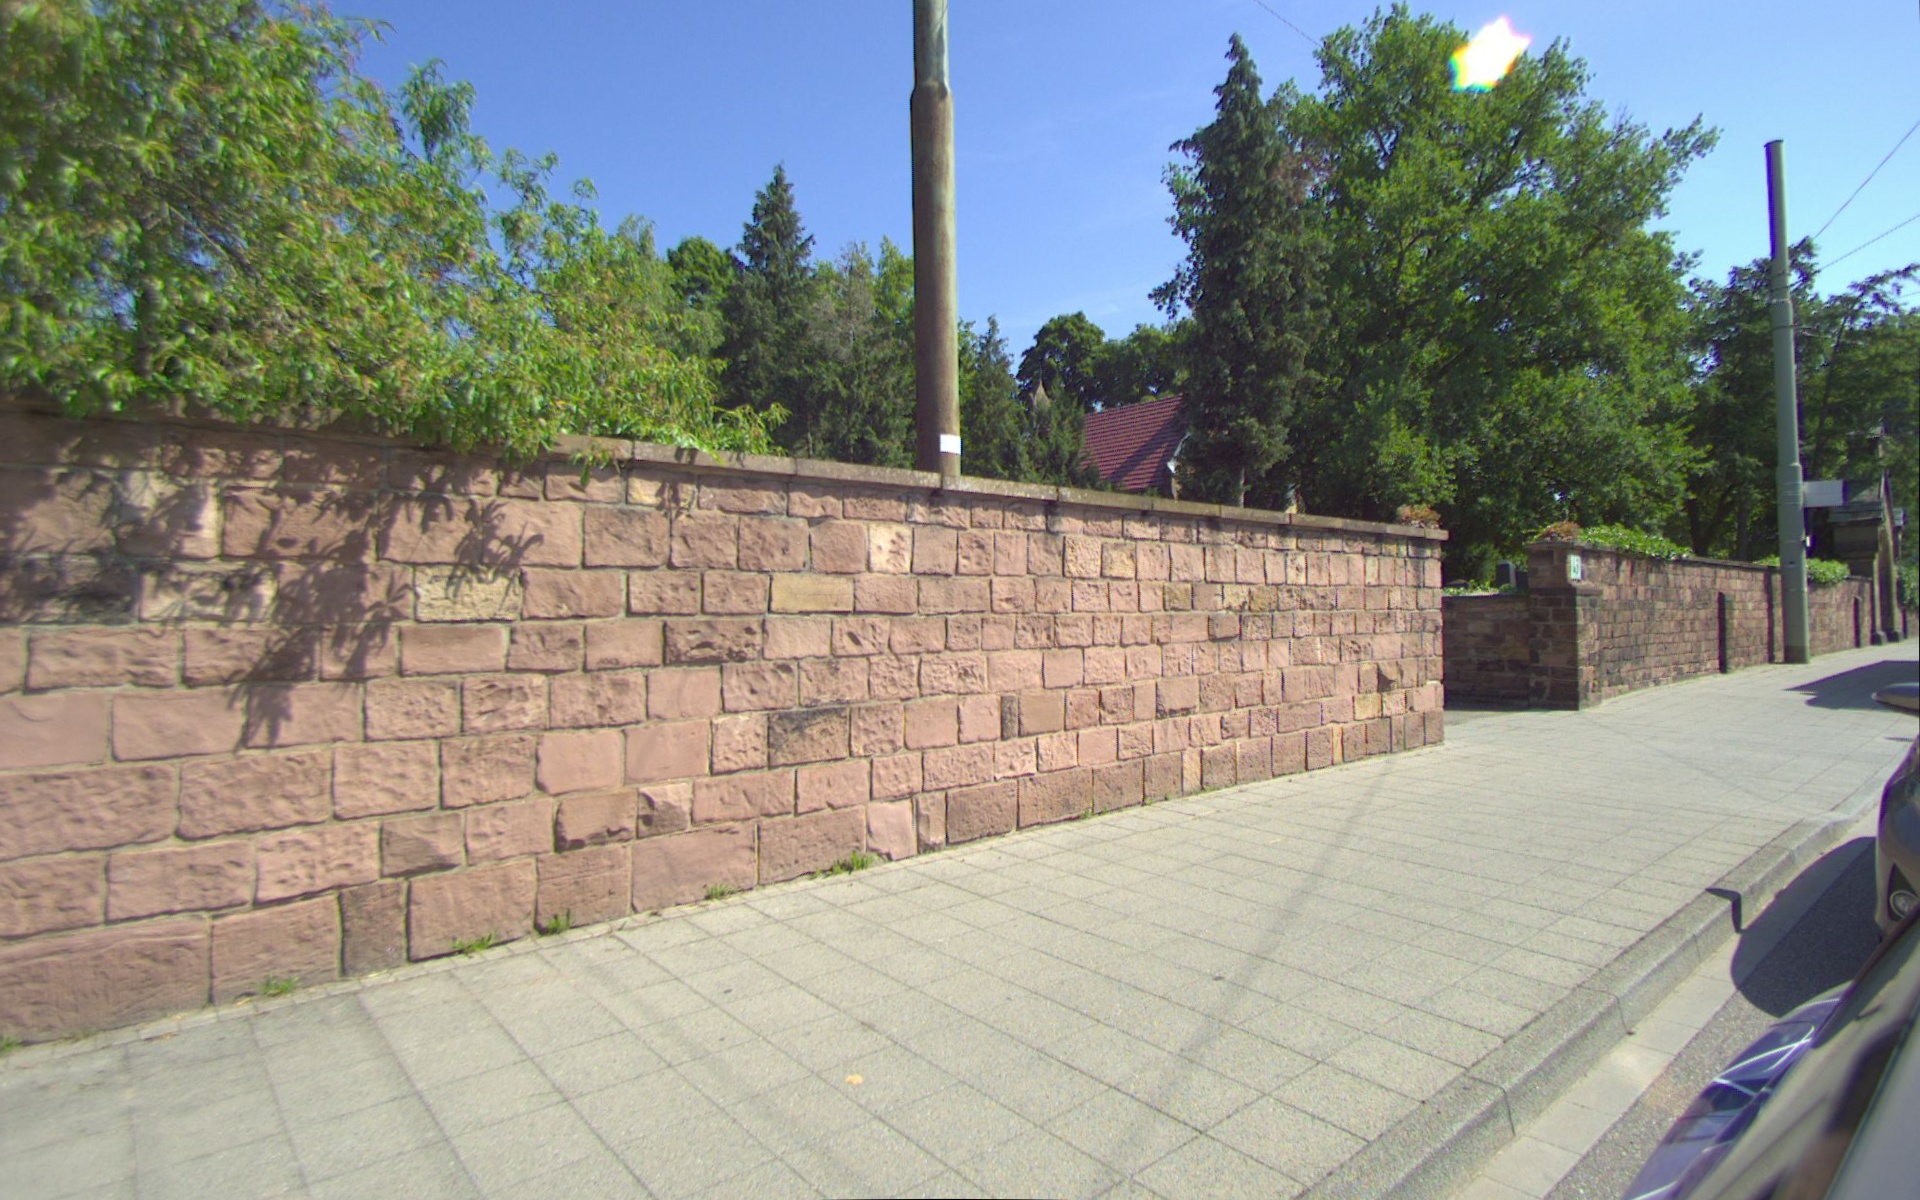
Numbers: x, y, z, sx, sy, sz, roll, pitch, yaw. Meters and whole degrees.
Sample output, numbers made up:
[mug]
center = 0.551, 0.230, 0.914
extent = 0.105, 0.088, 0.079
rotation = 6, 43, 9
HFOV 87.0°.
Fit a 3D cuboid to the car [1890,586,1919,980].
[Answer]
[car]
center = 5.372, 0.650, 4.321
extent = 3.930, 1.400, 1.653
rotation = 0, 0, -41
